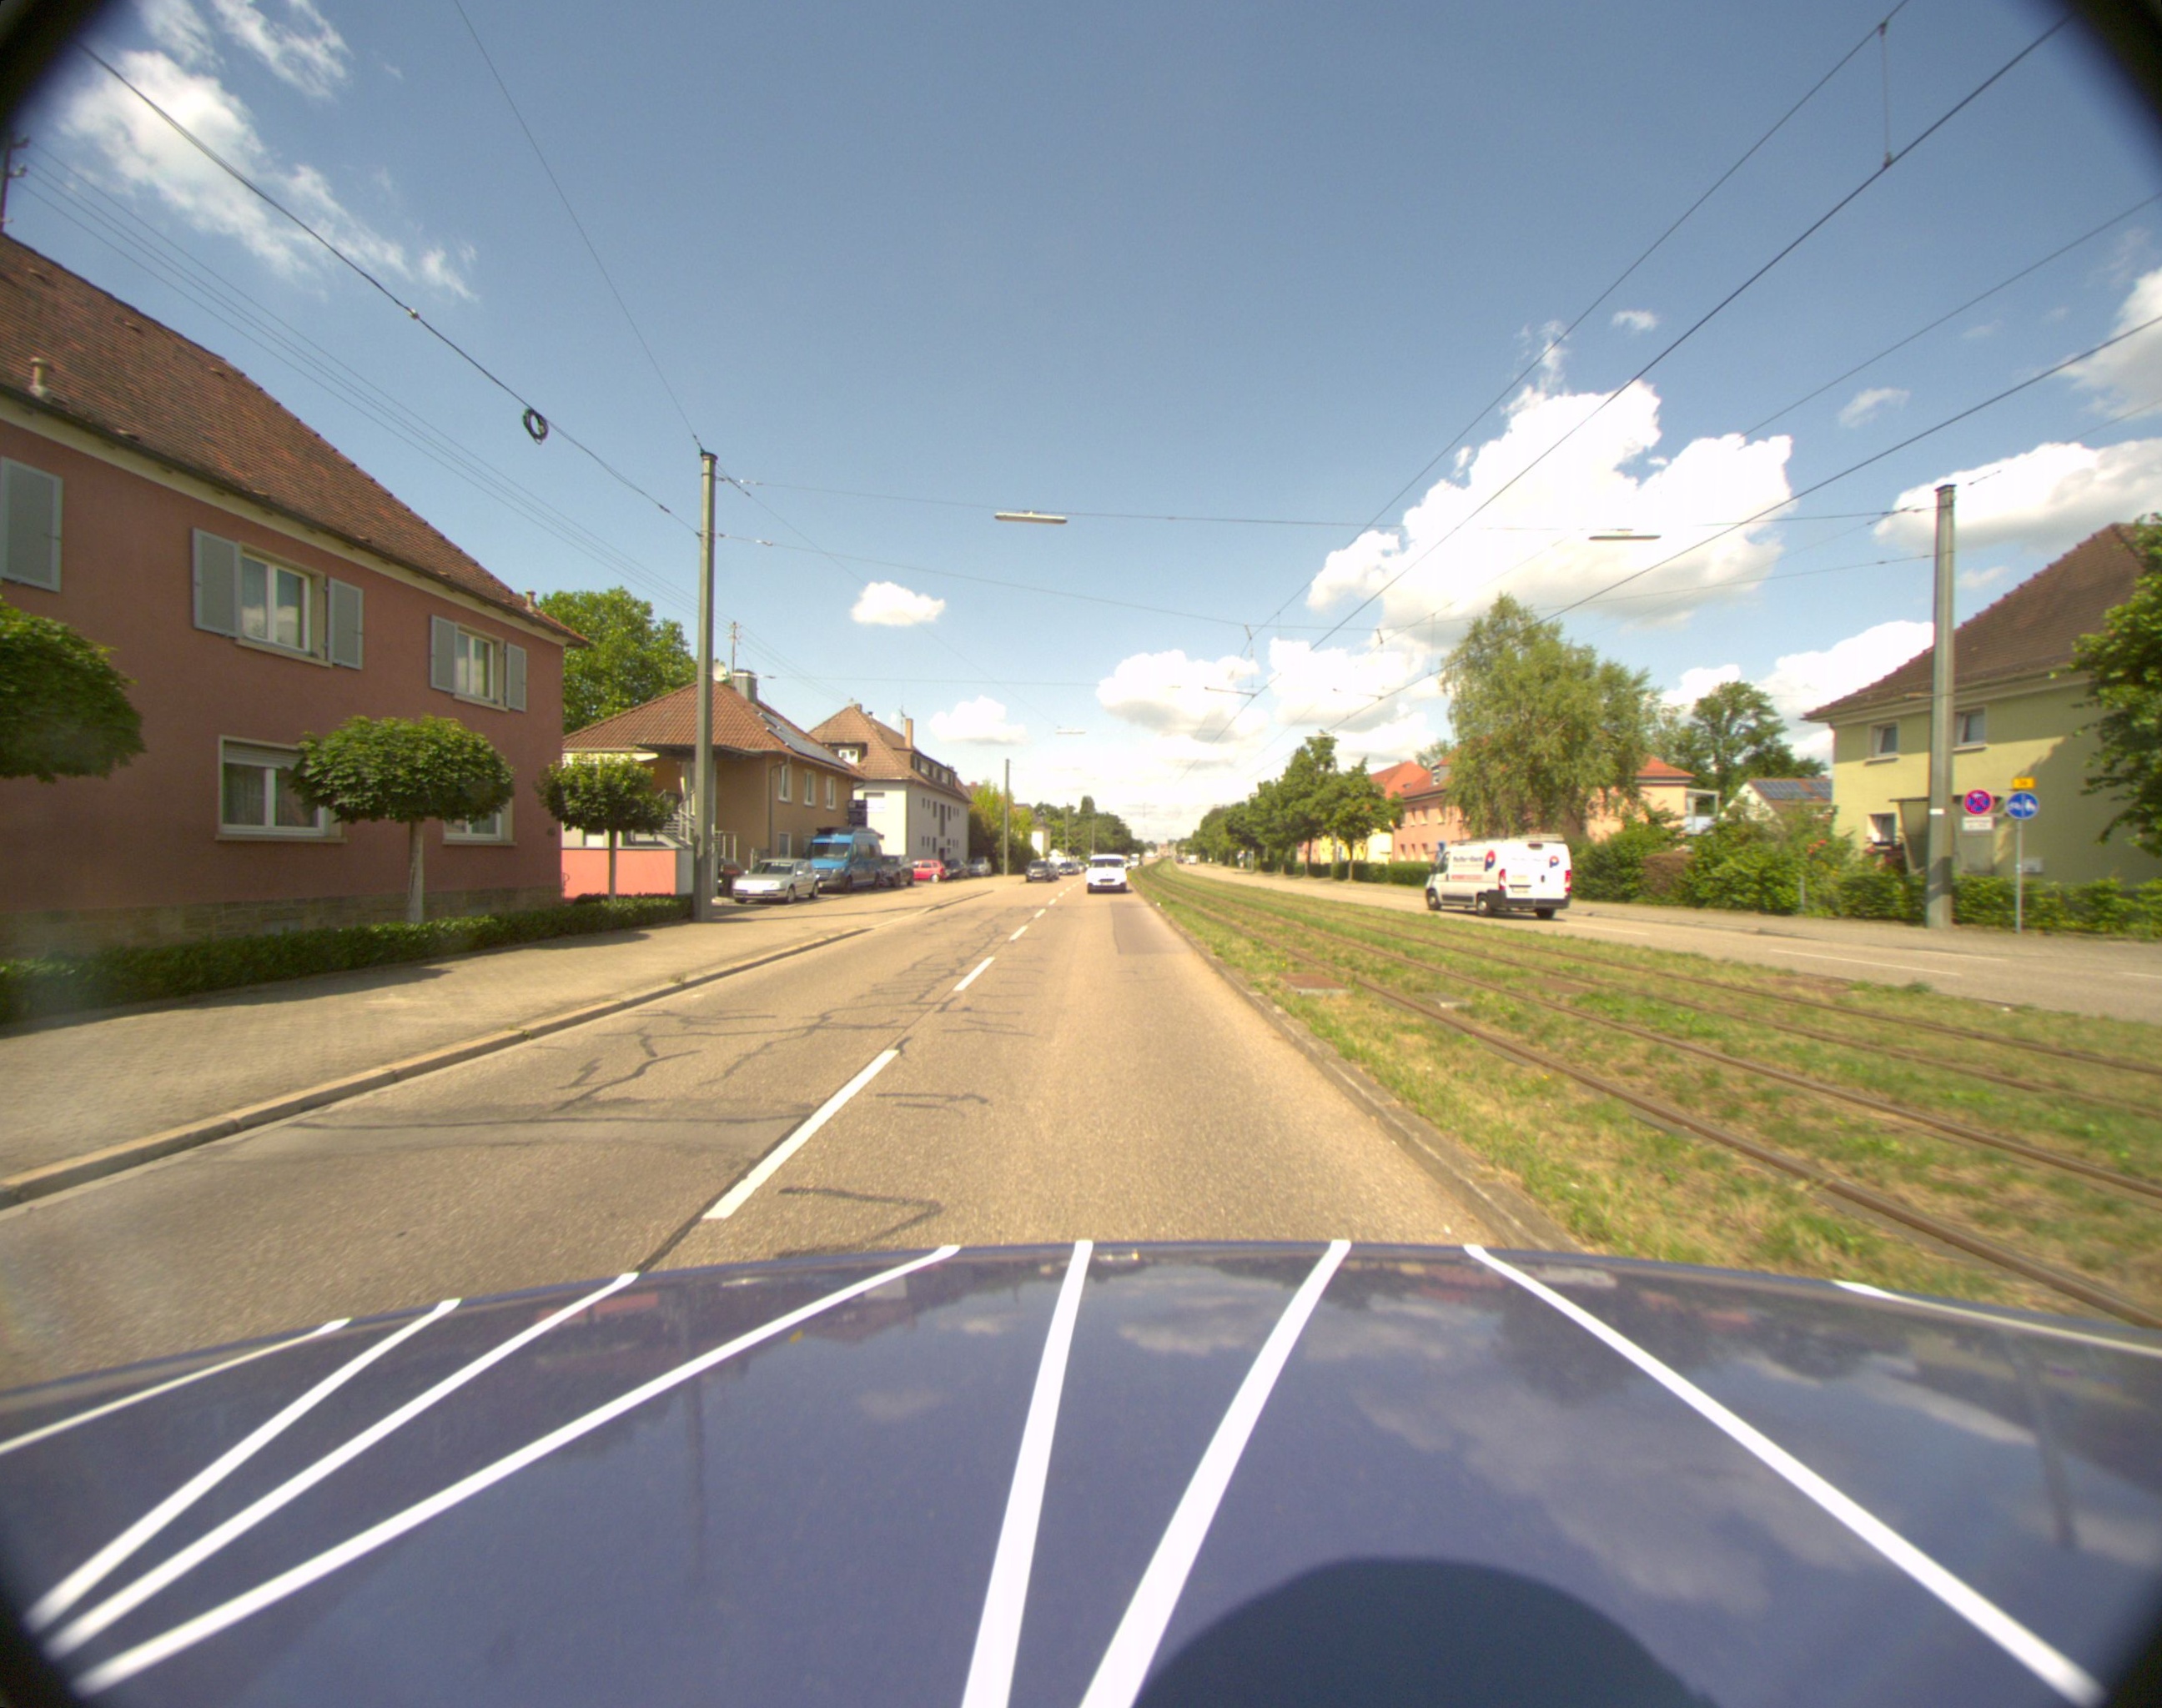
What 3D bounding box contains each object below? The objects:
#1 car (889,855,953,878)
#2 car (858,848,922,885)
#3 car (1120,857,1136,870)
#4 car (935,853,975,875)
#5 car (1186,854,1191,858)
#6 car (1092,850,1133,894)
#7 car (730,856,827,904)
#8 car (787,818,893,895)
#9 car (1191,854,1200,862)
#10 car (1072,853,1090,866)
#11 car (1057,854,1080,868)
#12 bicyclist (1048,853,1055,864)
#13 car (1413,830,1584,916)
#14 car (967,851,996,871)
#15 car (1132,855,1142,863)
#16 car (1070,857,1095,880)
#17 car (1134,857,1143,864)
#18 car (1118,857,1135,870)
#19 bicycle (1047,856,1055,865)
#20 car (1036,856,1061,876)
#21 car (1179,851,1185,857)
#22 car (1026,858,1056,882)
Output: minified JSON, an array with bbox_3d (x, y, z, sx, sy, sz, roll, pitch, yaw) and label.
[{"bbox_3d":[-10.268,0.801,48.930,3.658,1.372,1.726,-1,1,0],"label":"car"},{"bbox_3d":[-9.615,0.600,38.636,1.841,1.701,4.864,1,0,2],"label":"car"},{"bbox_3d":[6.552,1.318,105.566,1.998,1.576,4.001,-2,1,6],"label":"car"},{"bbox_3d":[-9.004,0.683,54.665,1.803,1.415,4.858,0,0,3],"label":"car"},{"bbox_3d":[35.453,0.729,250.978,1.689,1.422,4.278,0,0,6],"label":"car"},{"bbox_3d":[1.414,0.781,35.589,1.777,1.850,4.375,-2,0,1],"label":"car"},{"bbox_3d":[-10.020,0.812,25.497,1.653,1.401,4.349,0,1,-2],"label":"car"},{"bbox_3d":[-10.056,0.065,32.390,2.156,2.913,6.244,-2,1,3],"label":"car"},{"bbox_3d":[32.456,1.126,215.481,2.036,2.422,5.780,1,0,6],"label":"car"},{"bbox_3d":[0.000,0.655,94.914,1.740,1.481,4.095,-2,1,6],"label":"car"},{"bbox_3d":[-1.292,0.725,80.192,1.904,1.435,5.059,-2,0,4],"label":"car"},{"bbox_3d":[-3.587,0.544,91.370,0.689,1.345,0.666,0,1,12],"label":"bicyclist"},{"bbox_3d":[12.694,0.493,23.625,2.202,2.358,5.331,1,1,-2],"label":"car"},{"bbox_3d":[-8.426,0.563,64.613,1.761,1.637,4.768,0,1,0],"label":"car"},{"bbox_3d":[11.694,1.073,157.226,1.998,1.477,4.001,-2,1,4],"label":"car"},{"bbox_3d":[0.127,1.063,57.303,1.777,1.540,4.000,-2,0,0],"label":"car"},{"bbox_3d":[13.304,1.494,175.881,1.998,1.477,4.001,-2,1,4],"label":"car"},{"bbox_3d":[5.691,1.130,94.439,1.998,1.477,4.001,-2,1,4],"label":"car"},{"bbox_3d":[-3.571,0.830,91.449,0.555,1.059,1.525,0,0,12],"label":"bicycle"},{"bbox_3d":[-2.575,0.958,61.482,1.819,1.446,4.642,-2,1,0],"label":"car"},{"bbox_3d":[31.569,-0.033,238.147,1.689,1.736,4.229,0,0,6],"label":"car"},{"bbox_3d":[-2.809,1.103,54.581,1.811,1.550,4.253,-2,1,1],"label":"car"}]
